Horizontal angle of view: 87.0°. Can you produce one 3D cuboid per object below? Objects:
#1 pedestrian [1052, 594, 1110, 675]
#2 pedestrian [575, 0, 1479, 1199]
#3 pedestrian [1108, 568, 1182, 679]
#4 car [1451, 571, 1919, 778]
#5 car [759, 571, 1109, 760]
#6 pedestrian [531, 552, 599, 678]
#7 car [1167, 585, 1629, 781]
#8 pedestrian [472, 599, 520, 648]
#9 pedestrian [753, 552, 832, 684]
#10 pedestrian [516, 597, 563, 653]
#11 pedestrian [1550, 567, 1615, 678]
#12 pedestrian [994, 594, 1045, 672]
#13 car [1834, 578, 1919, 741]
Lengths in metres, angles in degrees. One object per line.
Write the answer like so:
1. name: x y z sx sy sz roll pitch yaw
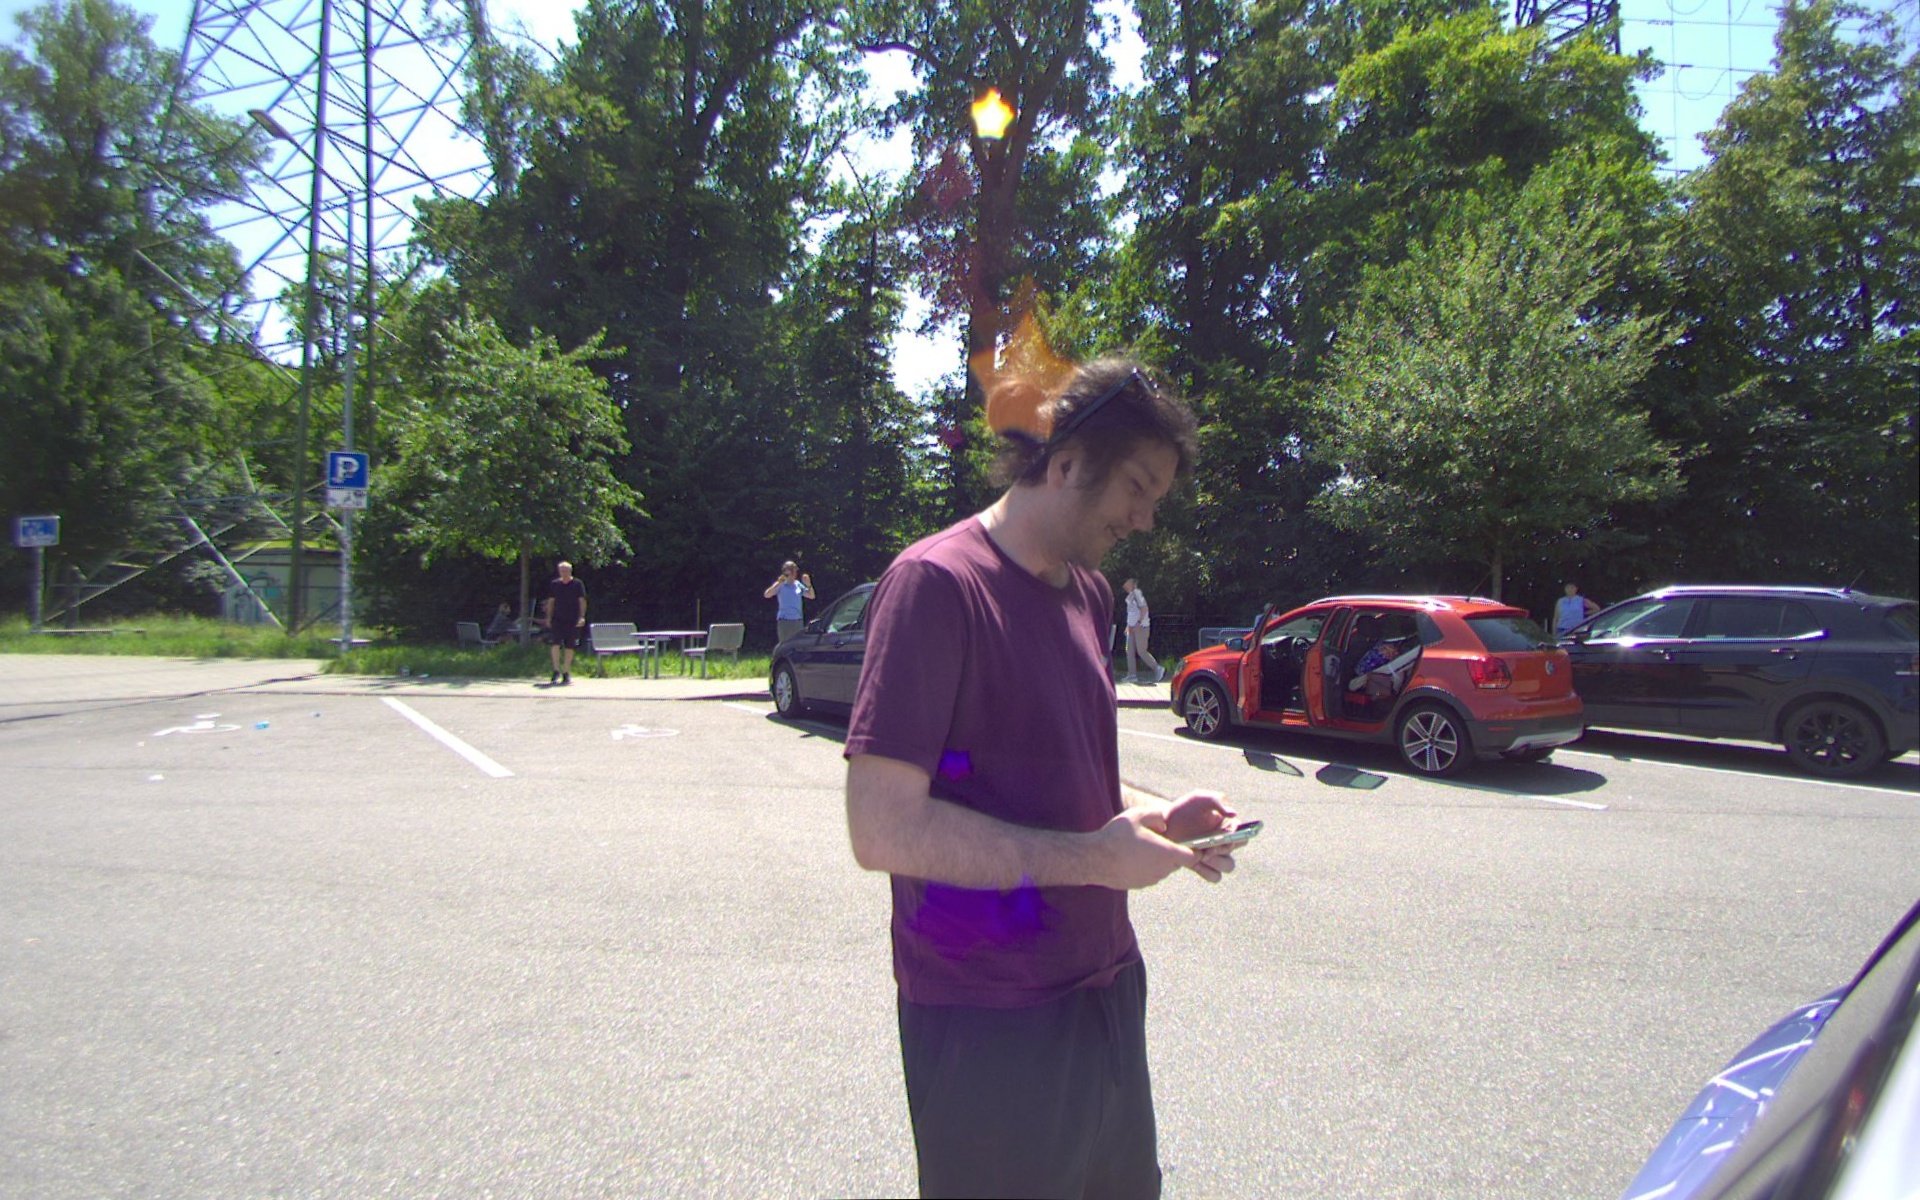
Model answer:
1. pedestrian: 2.010 0.562 16.863 0.656 1.311 0.832 1 -1 -17
2. pedestrian: 0.109 0.410 1.381 0.828 1.797 0.926 0 -1 45
3. pedestrian: 2.790 0.345 15.275 0.793 1.614 0.777 1 -1 -24
4. car: 7.167 0.578 9.800 1.807 1.612 3.967 1 0 -38
5. car: -0.470 0.547 10.705 1.809 1.588 4.017 1 0 -35
6. pedestrian: -5.993 0.221 15.399 0.701 1.851 0.905 1 -1 -3
7. car: 3.940 0.624 9.656 1.746 1.475 3.710 1 0 -33
8. pedestrian: -10.441 0.516 22.790 0.796 1.062 0.714 1 -1 -43
9. pedestrian: -2.362 0.249 14.273 0.786 1.784 0.809 1 -1 -39
10. pedestrian: -9.730 0.571 23.433 0.796 1.253 0.713 1 -1 -44
11. pedestrian: 9.401 0.324 15.289 0.712 1.614 0.797 0 -1 42
12. pedestrian: 1.001 0.544 17.017 0.656 1.285 0.655 1 -1 -17
13. car: 10.943 0.602 9.391 1.745 1.612 3.972 1 0 -32
